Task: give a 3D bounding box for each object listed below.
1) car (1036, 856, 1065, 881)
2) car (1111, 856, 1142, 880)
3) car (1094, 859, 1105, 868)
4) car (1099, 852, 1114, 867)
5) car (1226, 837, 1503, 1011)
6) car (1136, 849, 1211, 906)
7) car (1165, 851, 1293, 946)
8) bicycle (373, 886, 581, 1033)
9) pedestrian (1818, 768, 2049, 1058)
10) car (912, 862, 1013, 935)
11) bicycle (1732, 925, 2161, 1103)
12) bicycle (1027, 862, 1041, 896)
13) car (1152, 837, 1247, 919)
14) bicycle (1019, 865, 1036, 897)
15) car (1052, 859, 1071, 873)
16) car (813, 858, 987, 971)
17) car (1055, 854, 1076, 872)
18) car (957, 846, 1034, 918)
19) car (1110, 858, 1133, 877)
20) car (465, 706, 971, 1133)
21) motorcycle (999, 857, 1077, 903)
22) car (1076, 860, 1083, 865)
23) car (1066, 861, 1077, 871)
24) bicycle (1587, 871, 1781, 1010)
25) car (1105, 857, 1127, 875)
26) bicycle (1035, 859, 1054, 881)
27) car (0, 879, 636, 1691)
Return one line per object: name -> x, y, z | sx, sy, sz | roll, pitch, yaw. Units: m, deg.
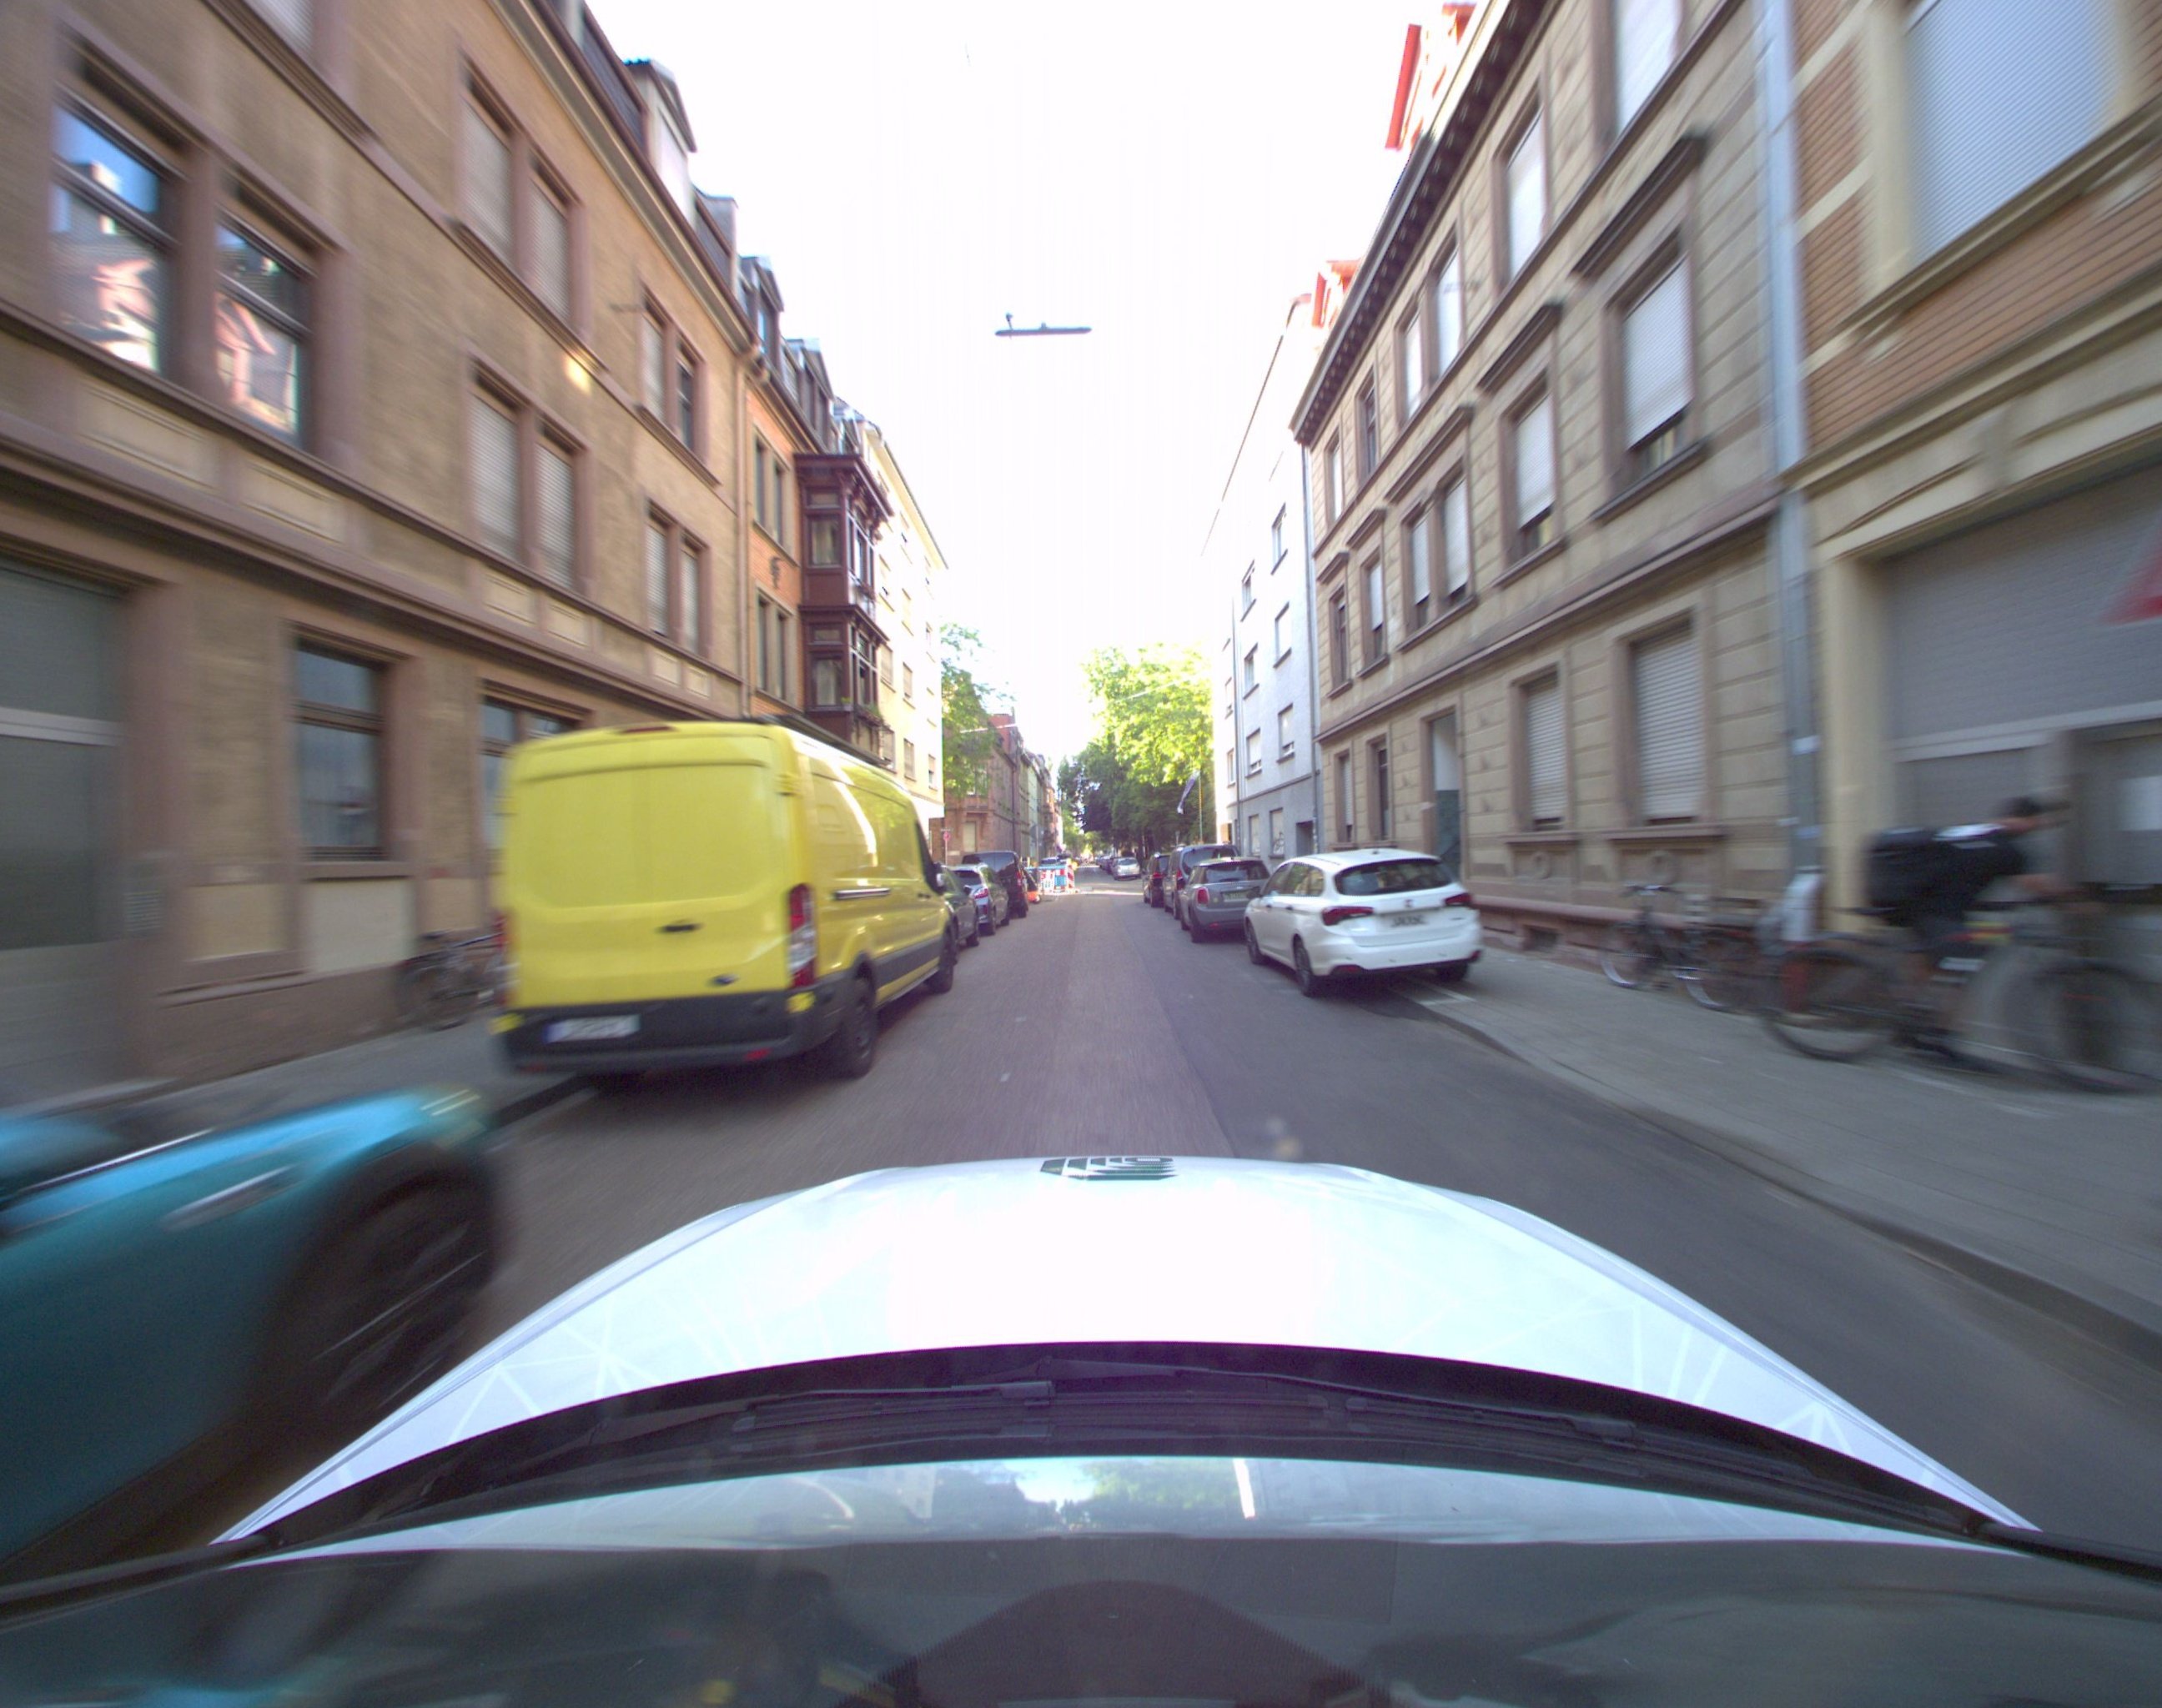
car -> -2.257, 1.067, 61.629 | 1.875, 1.707, 4.001 | -3, -1, 1
car -> 3.064, 0.931, 55.627 | 1.719, 1.522, 3.997 | -2, 0, -2
car -> 3.715, 1.893, 164.726 | 1.987, 1.728, 3.999 | -2, 0, 0
car -> 3.938, 0.890, 127.337 | 2.154, 2.255, 4.524 | -1, -1, -1
car -> 3.142, 0.677, 10.115 | 1.748, 1.518, 4.442 | -6, 0, 0
car -> 2.864, 0.715, 26.110 | 1.894, 1.640, 4.390 | -2, -1, 0
car -> 2.737, 0.752, 16.002 | 1.747, 1.452, 4.290 | -6, 0, 2
bicycle -> -5.808, 0.951, 7.978 | 0.670, 1.211, 1.765 | -1, 0, 2
pedestrian -> 5.325, 0.341, 5.120 | 0.659, 1.630, 0.870 | -2, -2, -41
car -> -2.541, 0.915, 18.245 | 1.671, 1.449, 3.644 | -1, 0, 0
bicycle -> 5.218, 0.895, 4.993 | 0.600, 0.816, 1.805 | -3, -1, -41
bicycle -> -1.796, 0.934, 31.117 | 0.398, 1.227, 1.505 | -2, 1, 0
car -> 2.980, 0.562, 21.441 | 1.748, 1.786, 4.723 | -4, 0, 0
bicycle -> -1.955, 0.970, 29.792 | 0.423, 1.140, 1.667 | 1, 0, 2
car -> -1.957, 1.231, 82.378 | 1.766, 1.353, 3.999 | -1, 0, 0
car -> -2.841, 0.880, 13.746 | 1.987, 1.552, 3.999 | -2, 0, 0
car -> -1.884, 1.103, 99.693 | 2.301, 2.114, 5.171 | -2, -1, 1
car -> -2.296, 0.724, 22.748 | 1.814, 1.766, 4.331 | -1, 0, -2
car -> 3.559, 1.158, 71.991 | 1.835, 1.596, 3.999 | -1, 0, 0
car -> -2.652, 0.414, 7.997 | 2.168, 2.508, 5.877 | -4, 0, 0
motorcycle -> -1.483, 0.873, 28.204 | 2.525, 1.482, 0.896 | -1, -1, -27
car -> -0.560, 2.588, 246.926 | 1.987, 1.647, 3.999 | -2, -1, 0
car -> -1.804, 2.215, 149.877 | 1.944, 1.709, 3.998 | -1, -1, -1
bicycle -> 5.352, 0.716, 7.353 | 0.515, 1.066, 1.567 | -3, 0, 0
car -> 3.284, 1.112, 76.822 | 1.888, 1.625, 3.999 | -1, -1, 0
bicycle -> -2.331, 1.029, 51.936 | 0.684, 1.345, 2.489 | -1, -1, -15
car -> -2.868, 0.892, 1.434 | 1.711, 1.412, 3.901 | -6, -1, 3
